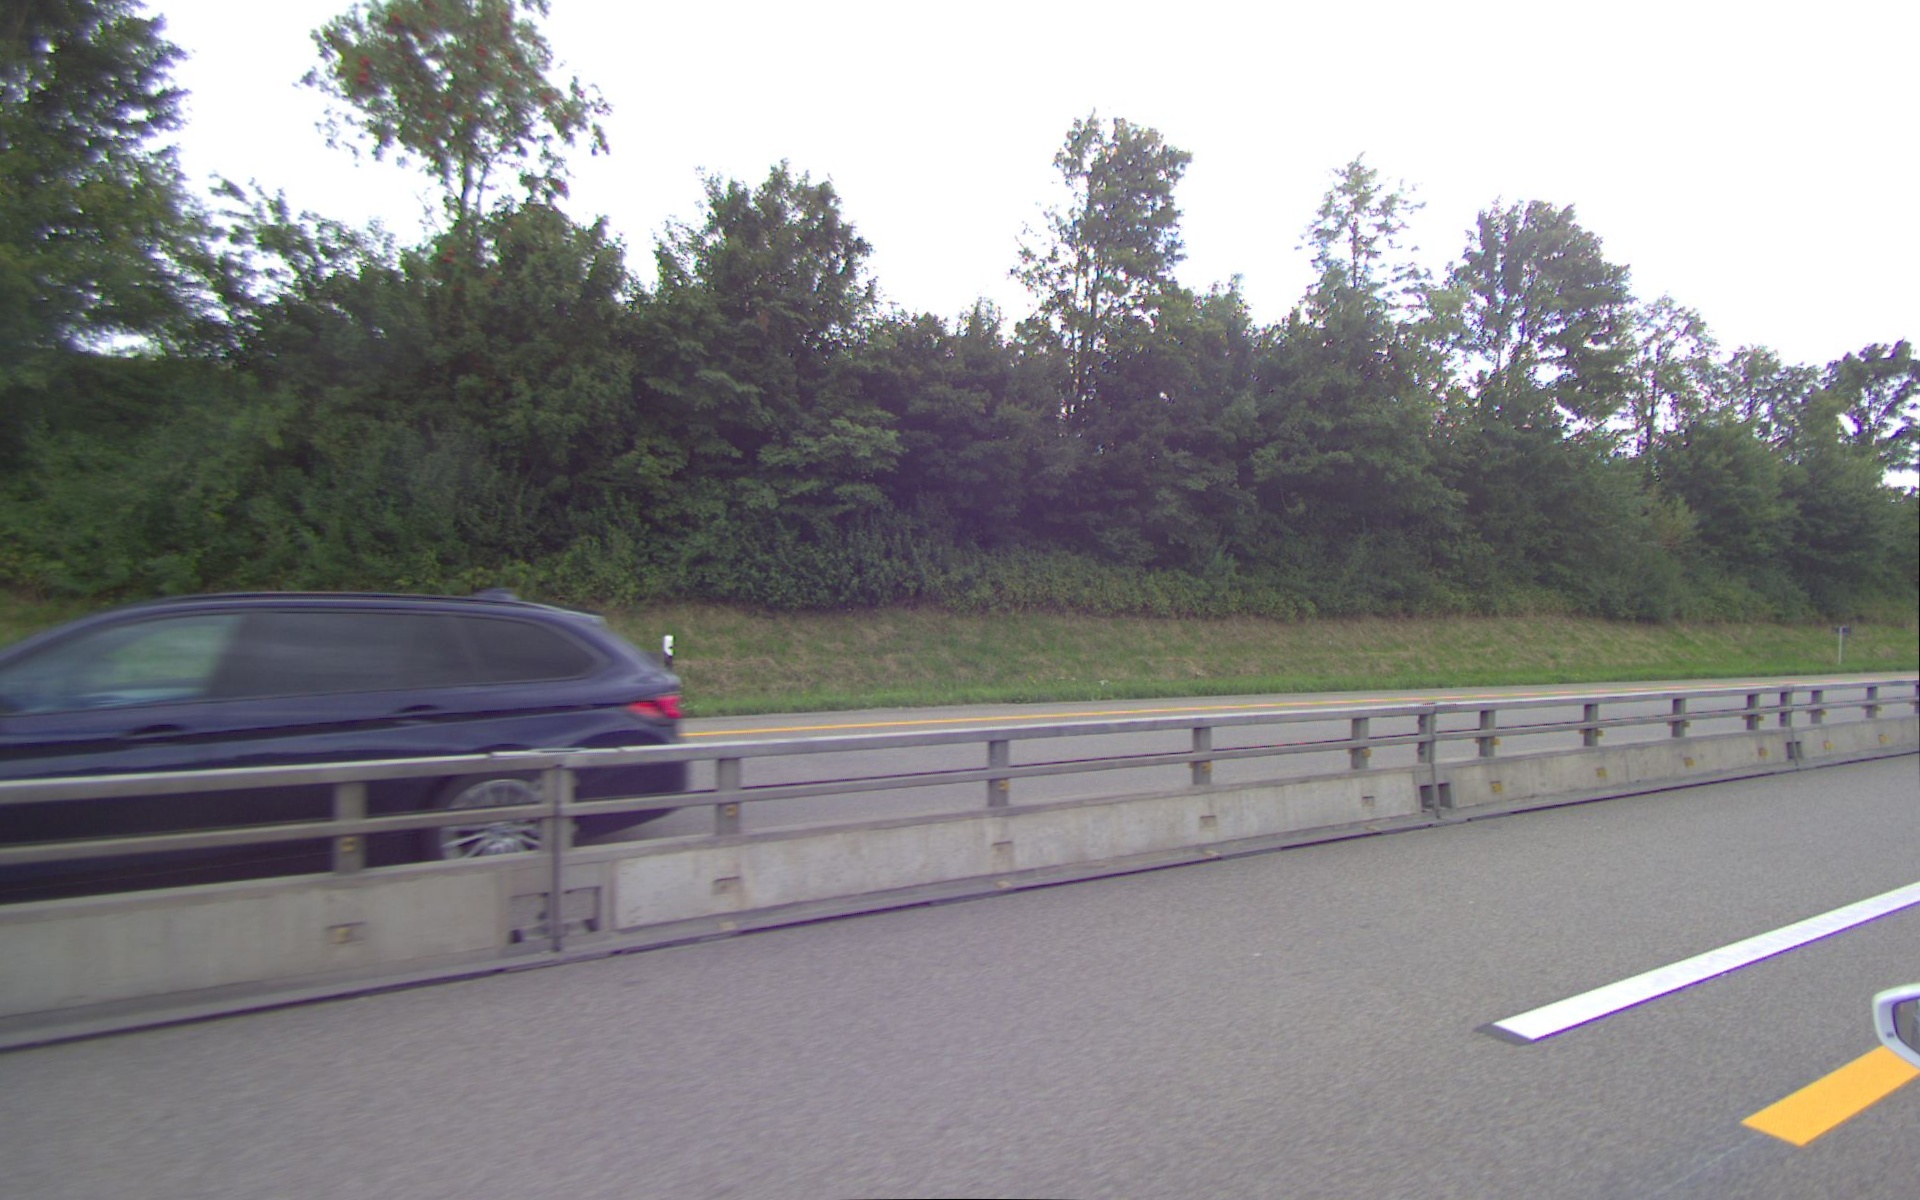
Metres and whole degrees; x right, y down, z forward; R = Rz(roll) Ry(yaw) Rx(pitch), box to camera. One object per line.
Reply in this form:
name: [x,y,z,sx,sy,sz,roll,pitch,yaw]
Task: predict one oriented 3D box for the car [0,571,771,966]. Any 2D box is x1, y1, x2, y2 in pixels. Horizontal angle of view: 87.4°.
car: [-3.615,0.662,5.089,4.846,1.519,1.987,1,-1,-32]
